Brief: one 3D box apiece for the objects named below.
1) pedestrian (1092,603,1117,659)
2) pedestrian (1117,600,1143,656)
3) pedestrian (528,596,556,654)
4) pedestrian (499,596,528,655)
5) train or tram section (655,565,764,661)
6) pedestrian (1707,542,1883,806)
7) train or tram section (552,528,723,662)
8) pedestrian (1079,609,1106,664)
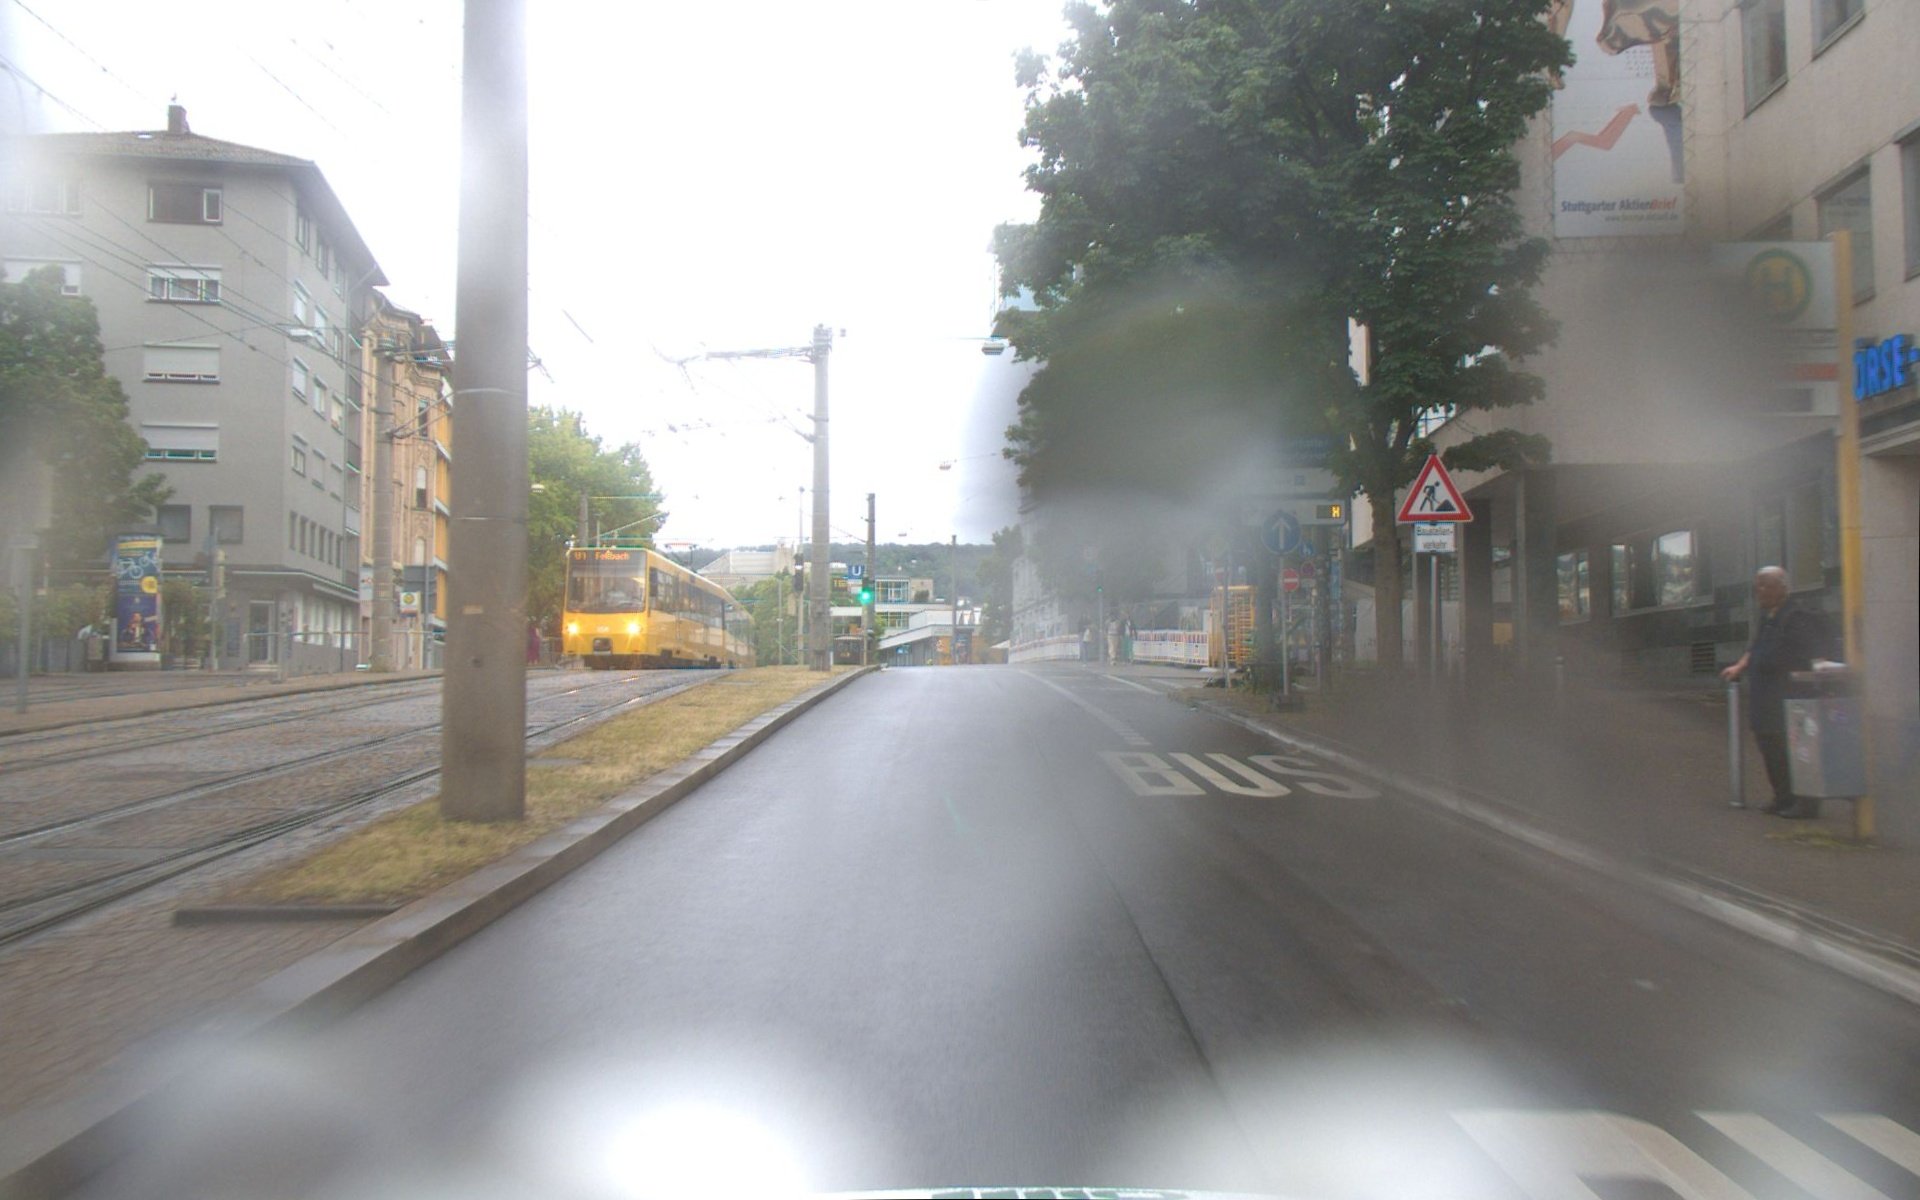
[{"bbox_3d":[4.780,1.014,54.648,0.686,1.847,0.976,0,-1,-4],"label":"pedestrian"},{"bbox_3d":[5.545,0.924,54.116,0.686,1.816,1.066,0,-1,-4],"label":"pedestrian"},{"bbox_3d":[-13.227,0.797,52.383,0.717,1.822,0.696,-1,-1,-2],"label":"pedestrian"},{"bbox_3d":[-14.150,0.805,52.432,0.717,1.822,0.696,-1,-1,-2],"label":"pedestrian"},{"bbox_3d":[-11.014,0.852,74.885,2.691,3.762,18.959,0,-2,-2],"label":"train or tram section"},{"bbox_3d":[5.452,0.465,10.849,0.651,1.655,0.967,0,-1,-1],"label":"pedestrian"},{"bbox_3d":[-10.392,0.183,55.898,2.691,3.762,18.959,0,-2,-2],"label":"train or tram section"},{"bbox_3d":[4.270,1.166,53.501,0.722,1.760,1.118,0,-1,-4],"label":"pedestrian"}]
